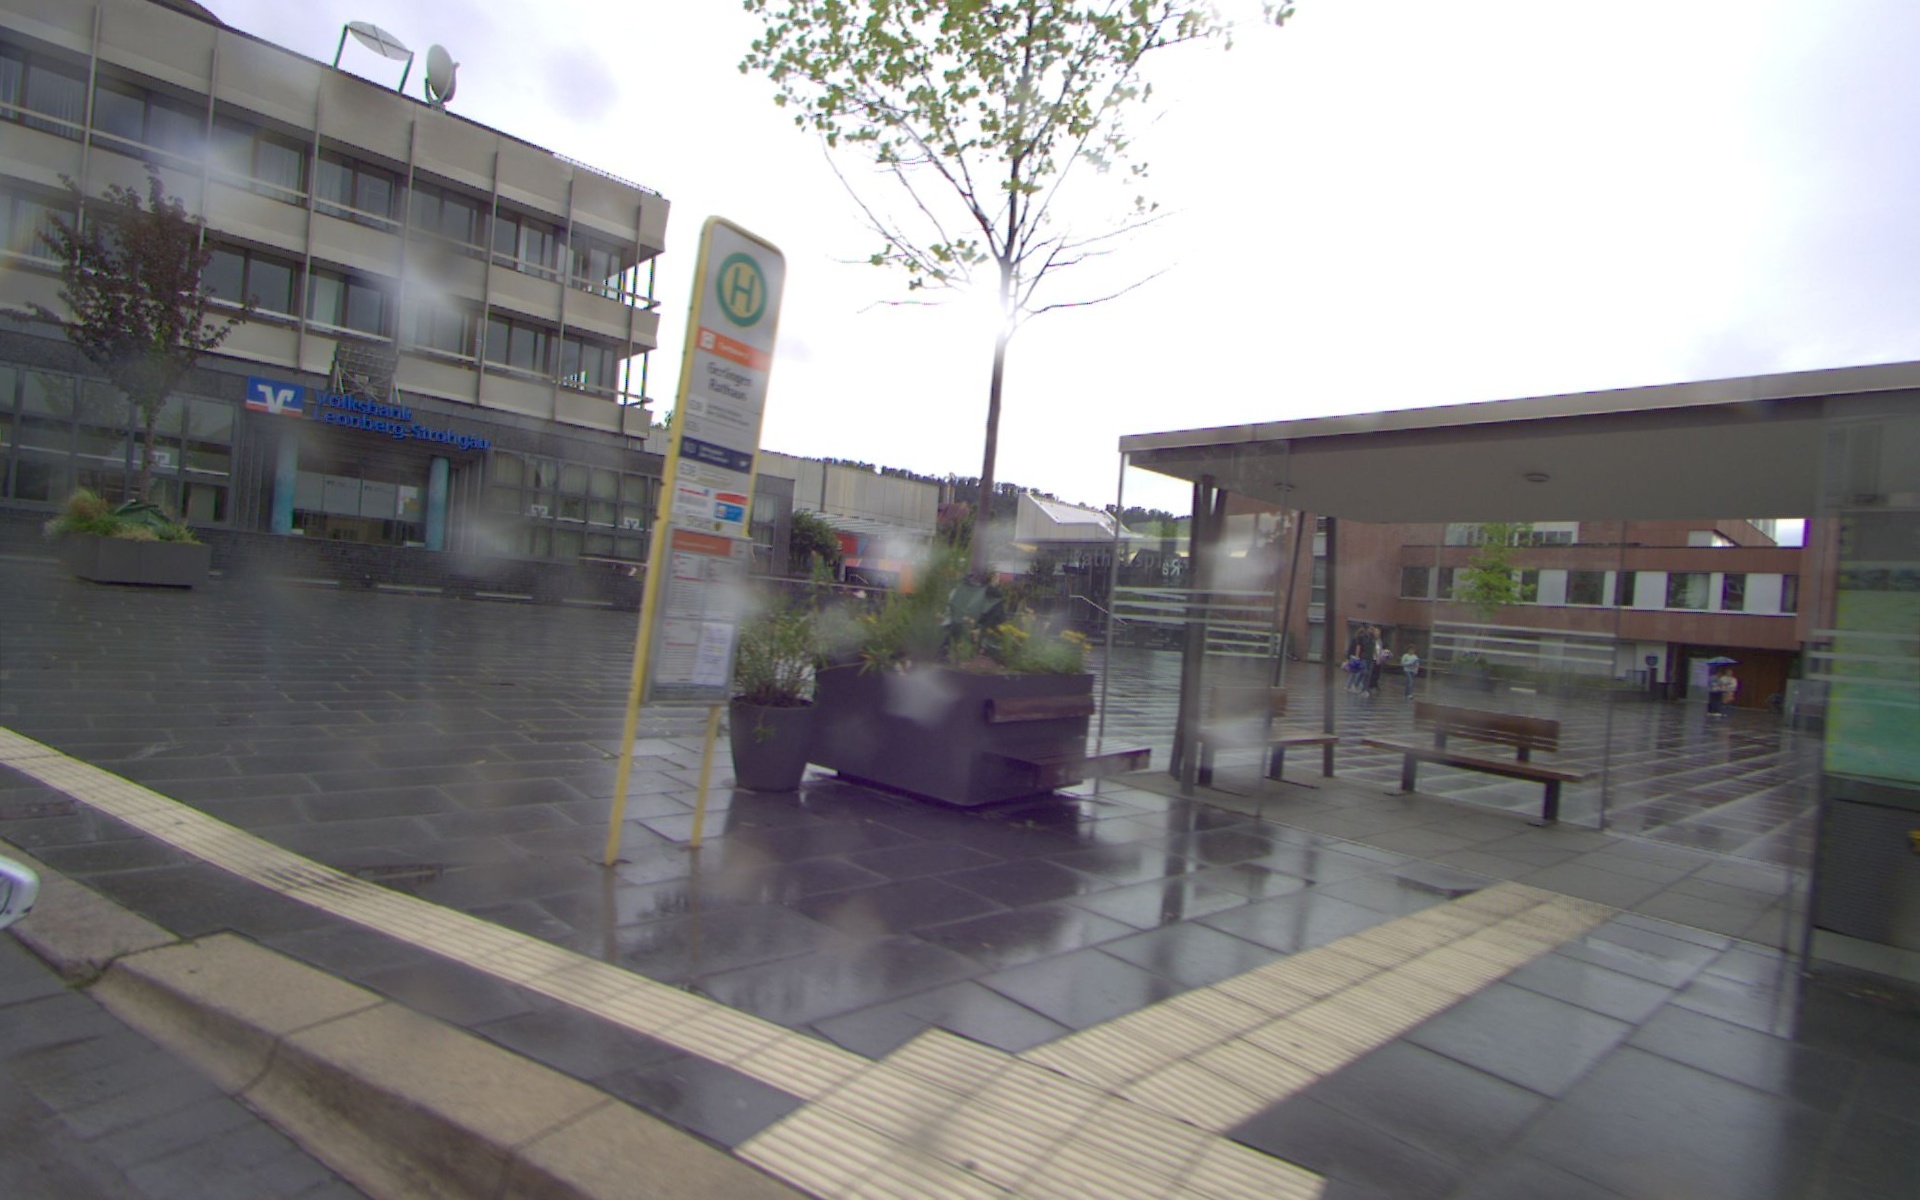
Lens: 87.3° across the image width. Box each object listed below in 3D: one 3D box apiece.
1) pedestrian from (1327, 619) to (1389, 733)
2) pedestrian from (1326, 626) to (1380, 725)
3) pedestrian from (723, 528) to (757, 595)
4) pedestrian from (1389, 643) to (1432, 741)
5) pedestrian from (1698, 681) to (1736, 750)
[{"bbox_3d":[9.944,1.891,25.129,1.047,2.719,0.823,3,2,-38],"label":"pedestrian"},{"bbox_3d":[10.227,1.960,26.209,0.936,2.471,0.768,3,2,-41],"label":"pedestrian"},{"bbox_3d":[-7.367,-1.295,33.669,0.753,2.175,0.652,3,2,-38],"label":"pedestrian"},{"bbox_3d":[11.688,2.370,26.101,0.731,2.471,0.562,3,2,-43],"label":"pedestrian"},{"bbox_3d":[26.853,4.070,35.682,0.789,2.338,0.898,6,2,43],"label":"pedestrian"}]
